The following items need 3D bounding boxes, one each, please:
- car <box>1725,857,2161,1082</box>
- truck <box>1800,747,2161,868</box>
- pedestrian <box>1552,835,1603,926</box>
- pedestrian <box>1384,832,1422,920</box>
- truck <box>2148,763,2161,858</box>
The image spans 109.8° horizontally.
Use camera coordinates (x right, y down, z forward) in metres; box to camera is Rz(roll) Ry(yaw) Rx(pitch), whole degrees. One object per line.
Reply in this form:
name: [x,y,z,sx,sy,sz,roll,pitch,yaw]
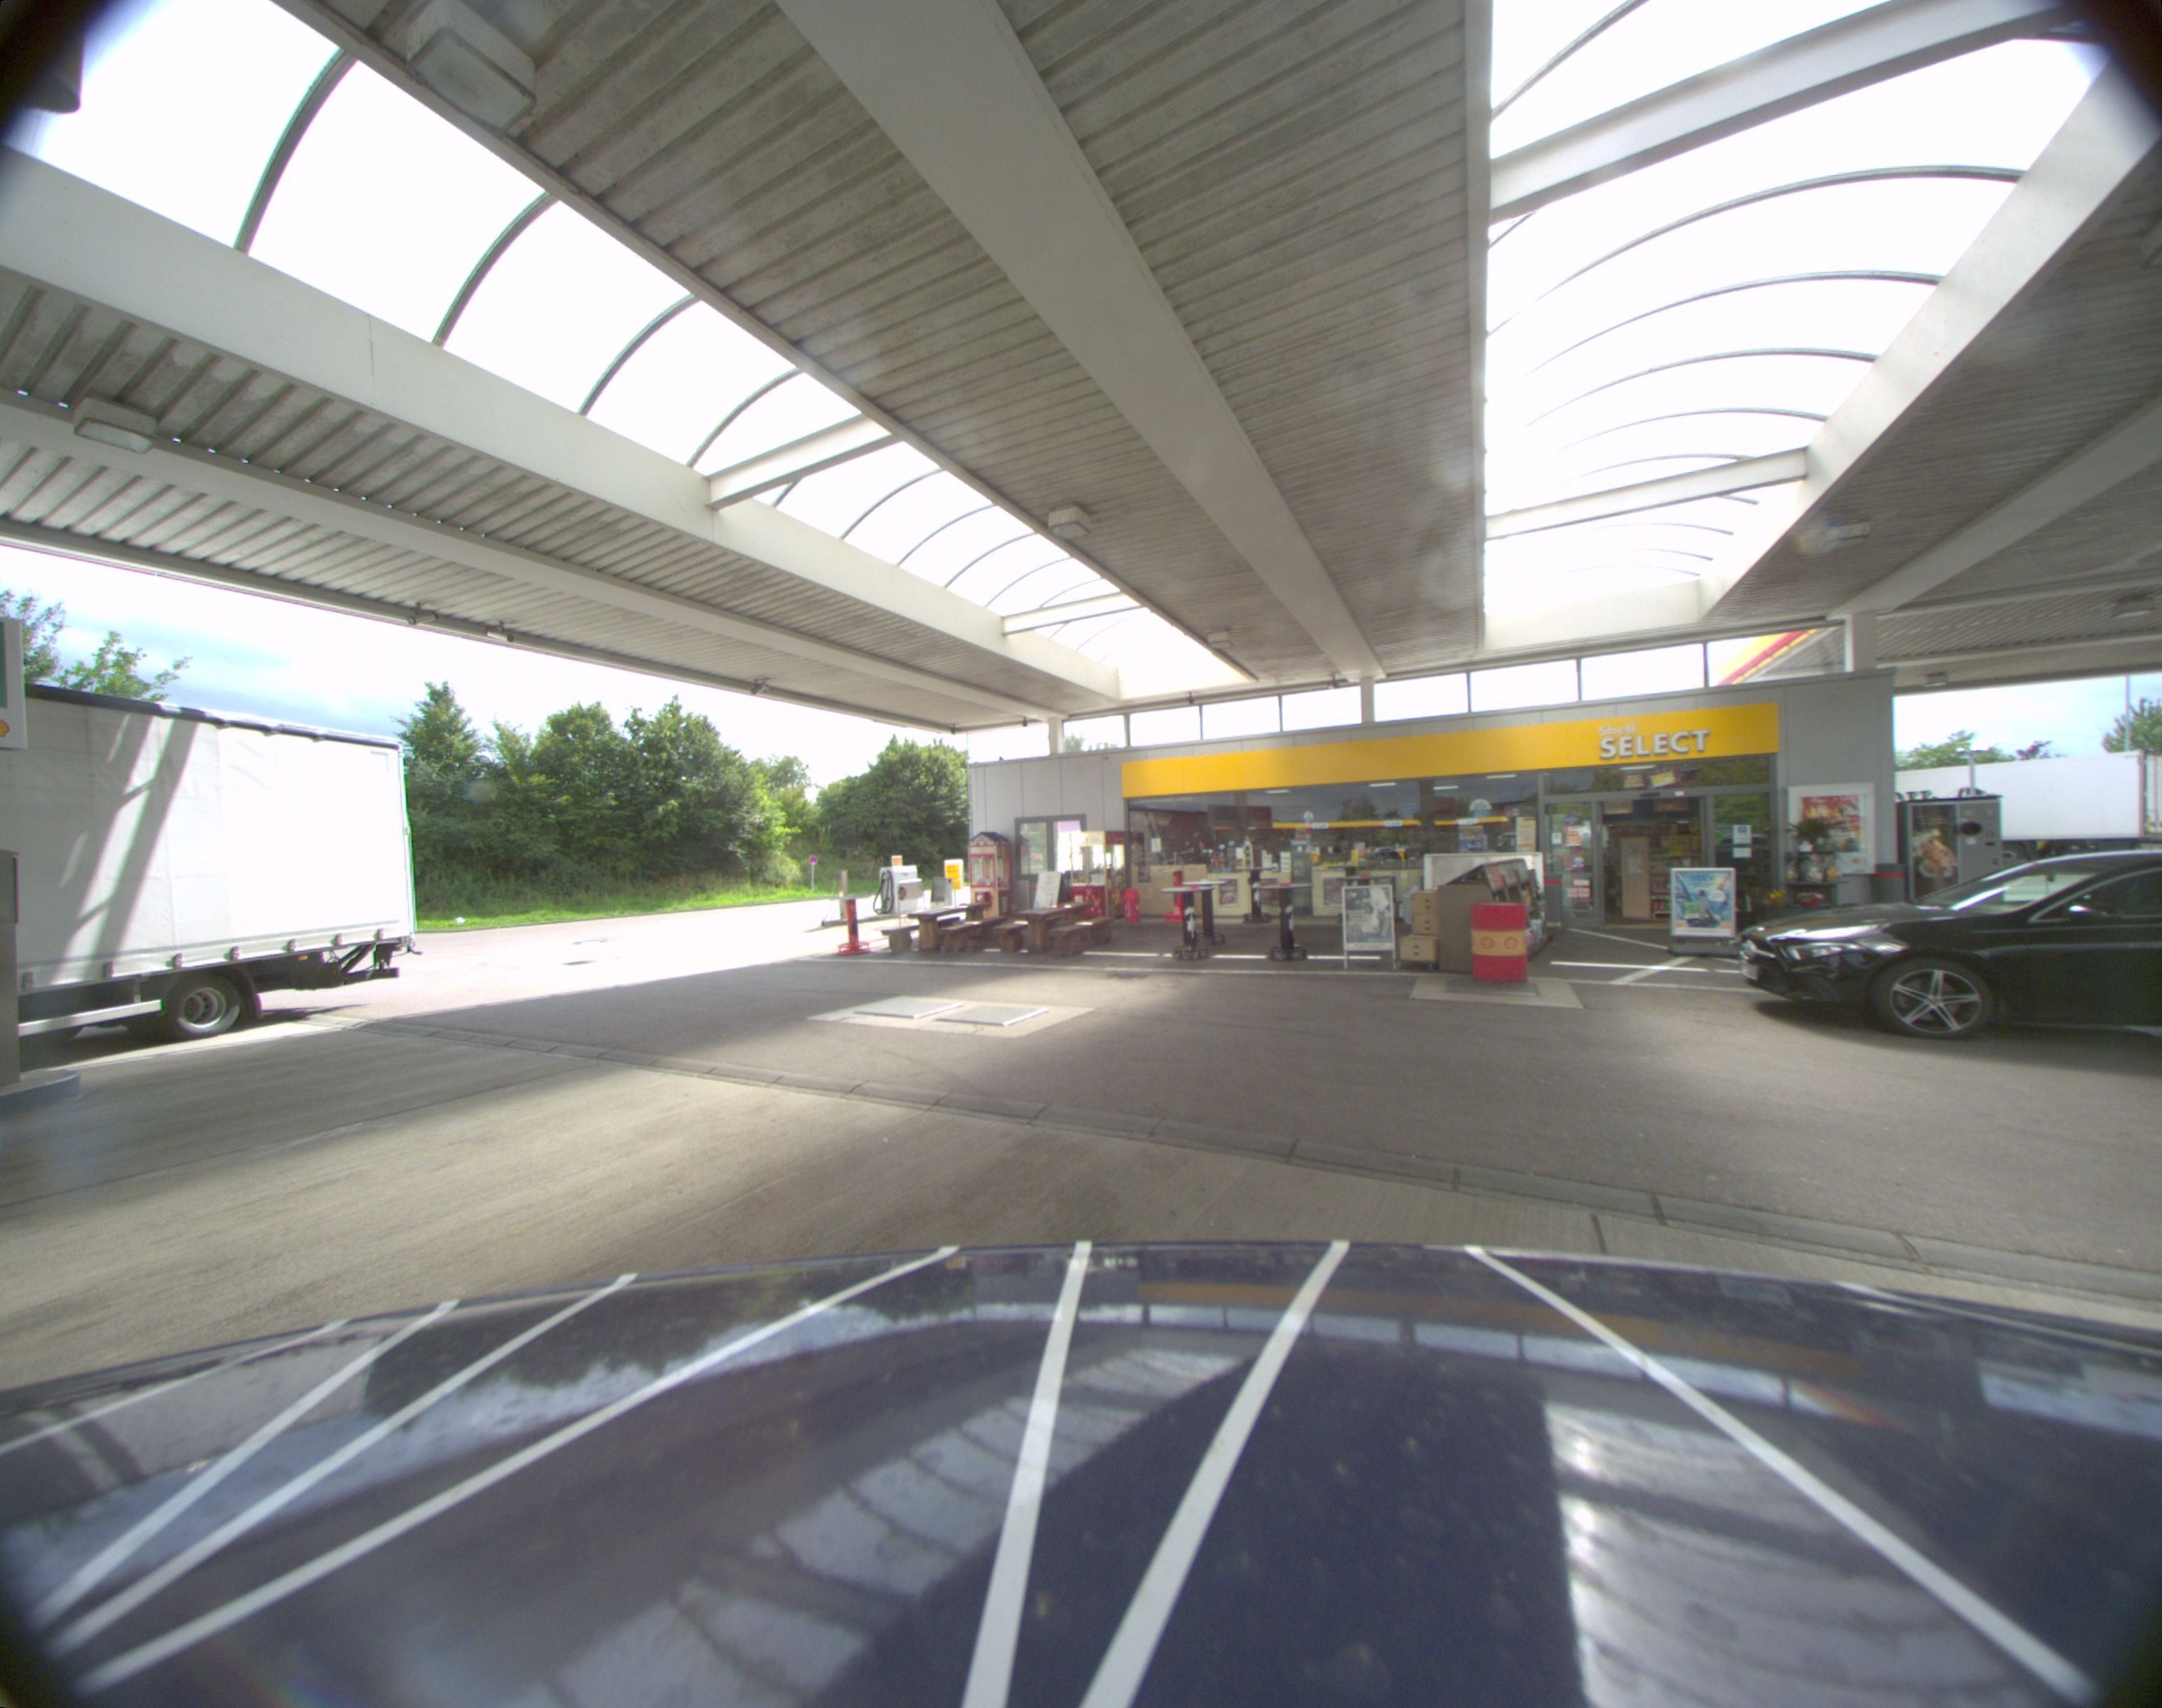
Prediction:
car: [8.166,0.819,5.965,4.461,1.491,1.782,-2,1,28]
truck: [35.133,-1.599,30.067,2.796,3.982,9.578,-2,1,-16]
pedestrian: [9.535,0.494,14.600,0.626,1.703,0.623,-2,1,15]
pedestrian: [7.105,0.470,16.774,0.580,1.895,0.509,-2,1,1]
truck: [51.481,-2.020,33.148,3.383,4.479,6.239,-2,1,29]
